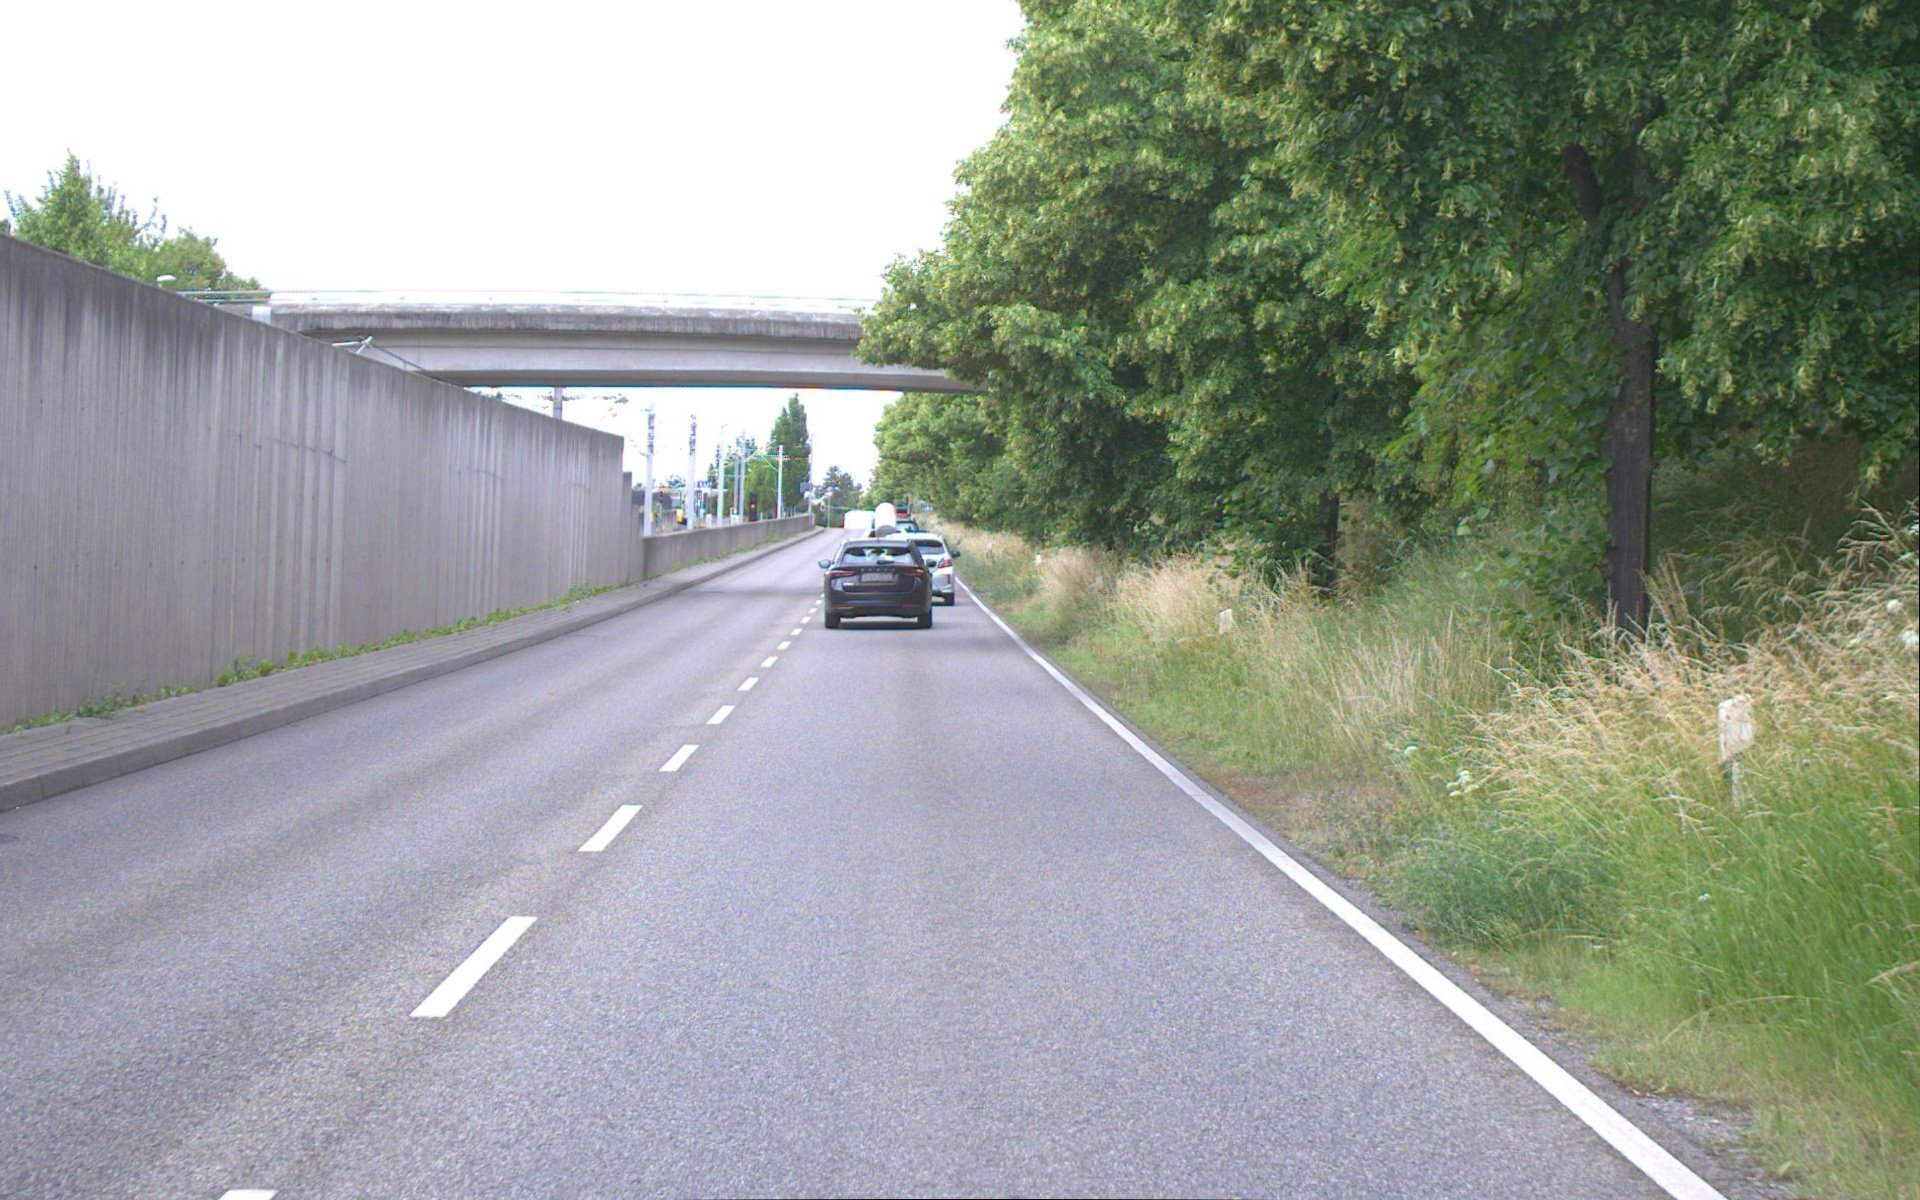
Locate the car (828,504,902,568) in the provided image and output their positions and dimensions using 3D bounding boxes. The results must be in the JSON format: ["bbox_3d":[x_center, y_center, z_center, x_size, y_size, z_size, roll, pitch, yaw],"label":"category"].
[{"bbox_3d":[-2.646,-1.770,96.319,1.993,1.734,4.000,1,0,-1],"label":"car"}]

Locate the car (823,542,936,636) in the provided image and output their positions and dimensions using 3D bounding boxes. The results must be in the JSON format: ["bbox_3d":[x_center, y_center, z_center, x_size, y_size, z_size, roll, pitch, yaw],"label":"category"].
[{"bbox_3d":[-1.323,-0.207,56.761,1.781,1.463,4.000,1,1,-1],"label":"car"}]

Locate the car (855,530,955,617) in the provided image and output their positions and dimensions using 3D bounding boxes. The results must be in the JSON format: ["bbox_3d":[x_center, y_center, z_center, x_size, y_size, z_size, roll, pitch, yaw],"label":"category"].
[{"bbox_3d":[-1.150,-0.569,71.661,1.993,1.747,4.000,1,1,-1],"label":"car"}]
